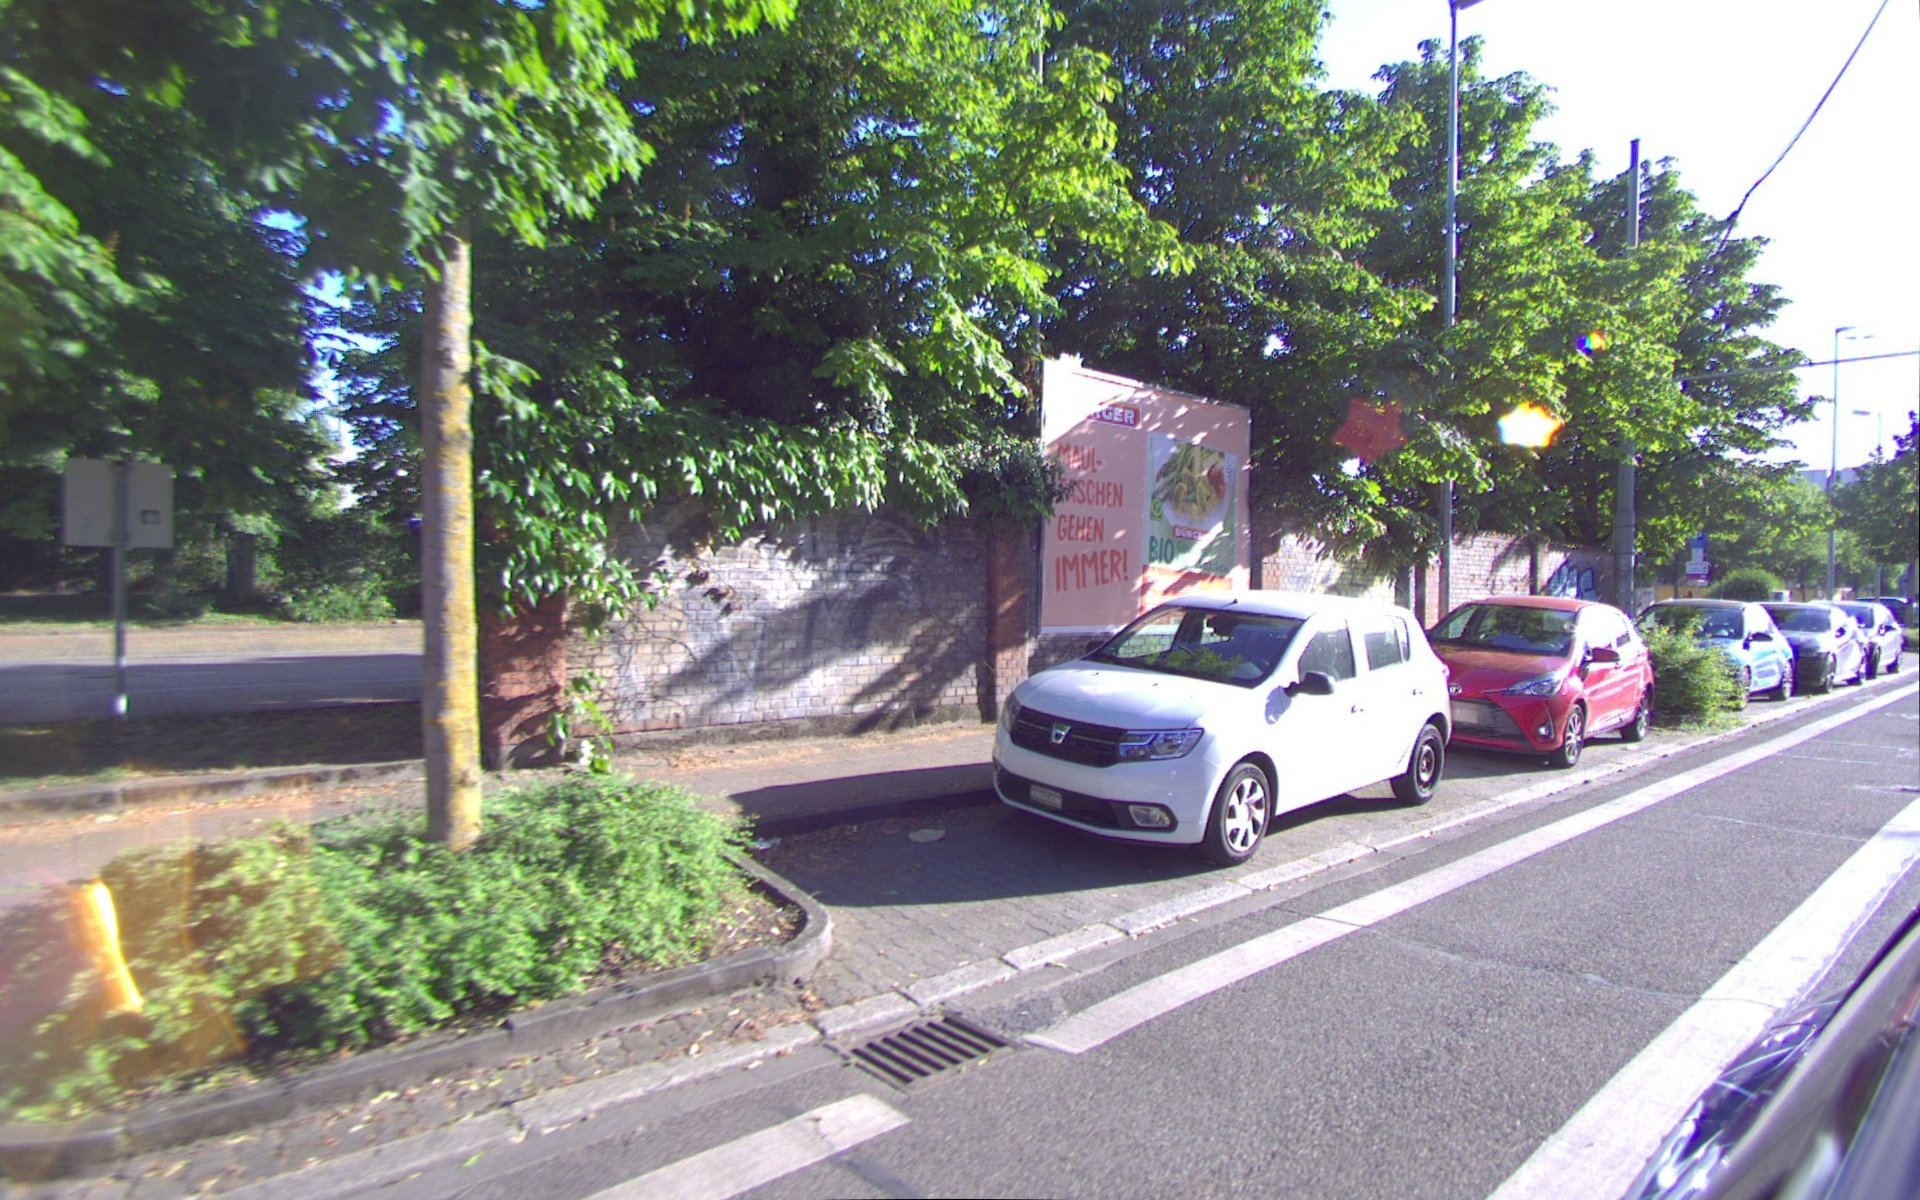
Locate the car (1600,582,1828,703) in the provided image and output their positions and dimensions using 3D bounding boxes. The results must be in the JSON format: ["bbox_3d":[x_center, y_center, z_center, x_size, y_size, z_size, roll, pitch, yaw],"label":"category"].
[{"bbox_3d":[11.462,0.547,15.302,3.926,1.549,1.694,0,3,-37],"label":"car"}]

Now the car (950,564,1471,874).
[{"bbox_3d":[1.949,0.572,7.134,3.933,1.549,1.691,0,3,-43],"label":"car"}]

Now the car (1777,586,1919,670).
[{"bbox_3d":[18.889,0.529,21.303,3.926,1.549,1.694,0,3,-37],"label":"car"}]

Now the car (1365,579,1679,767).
[{"bbox_3d":[5.979,0.593,10.579,3.932,1.549,1.691,0,3,-43],"label":"car"}]

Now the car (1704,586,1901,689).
[{"bbox_3d":[14.879,0.569,17.807,4.274,1.549,1.694,0,3,-37],"label":"car"}]

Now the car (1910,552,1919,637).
[{"bbox_3d":[33.660,-0.116,33.089,5.971,2.698,2.190,0,3,-32],"label":"car"}]
